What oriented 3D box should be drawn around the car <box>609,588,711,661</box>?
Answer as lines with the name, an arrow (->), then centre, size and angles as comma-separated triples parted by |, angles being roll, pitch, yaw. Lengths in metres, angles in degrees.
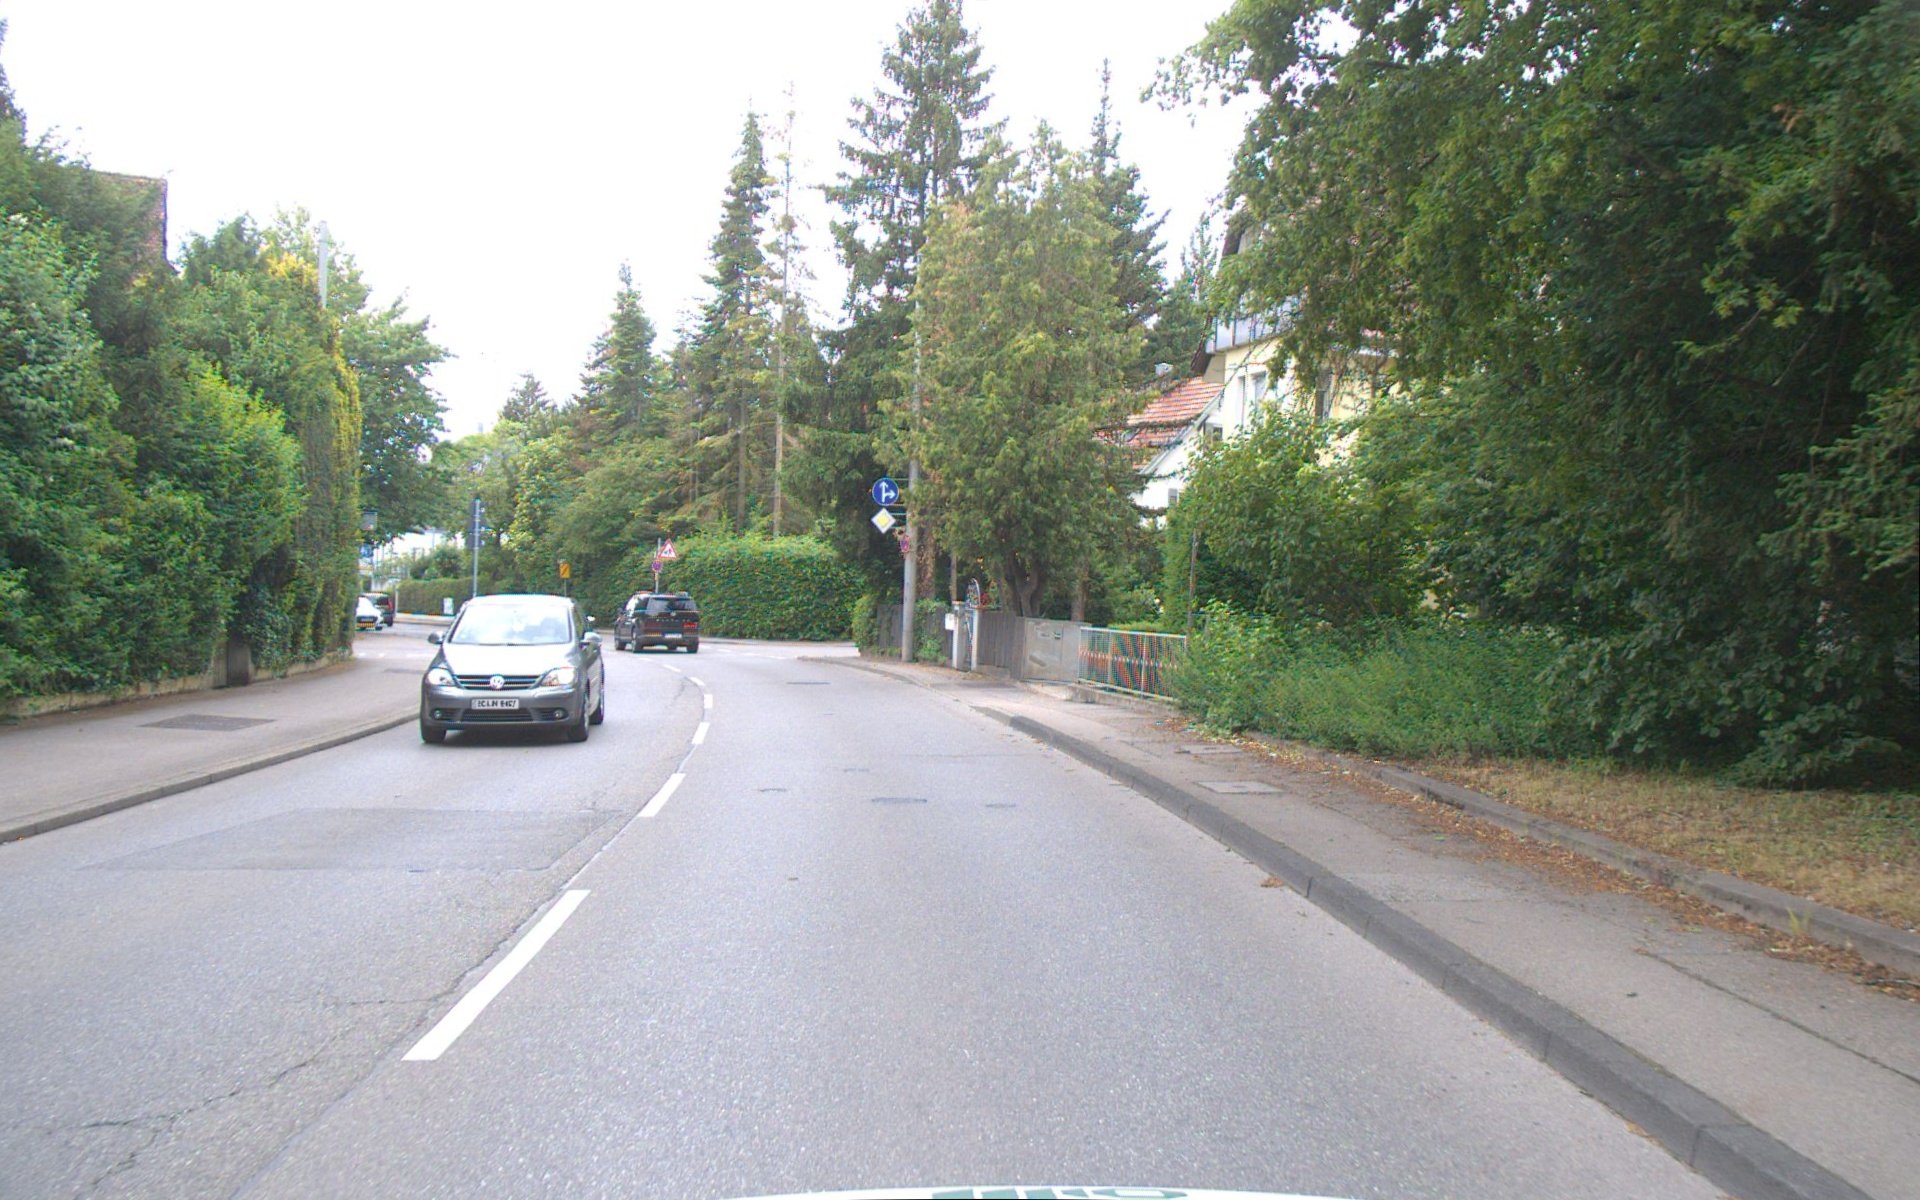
car -> -8.965, 0.693, 49.146 | 1.969, 1.914, 3.968 | 2, 1, -25

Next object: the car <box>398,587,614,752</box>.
car -> -5.000, 0.691, 18.710 | 1.957, 1.646, 3.991 | 0, 0, -10

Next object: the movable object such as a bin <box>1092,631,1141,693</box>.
movable object such as a bin -> 2.819, 1.109, 29.861 | 0.762, 1.067, 0.782 | 1, 0, -3

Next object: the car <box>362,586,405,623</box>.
car -> -29.163, 0.220, 83.548 | 1.866, 1.736, 3.974 | 2, -1, -21

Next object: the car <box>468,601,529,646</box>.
car -> -15.336, 0.763, 54.906 | 1.882, 1.422, 3.892 | 0, 0, -16

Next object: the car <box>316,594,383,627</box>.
car -> -27.411, 0.477, 74.193 | 1.793, 1.468, 4.145 | 0, -1, -35

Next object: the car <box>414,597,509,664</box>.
car -> -11.954, 0.695, 39.854 | 1.869, 1.479, 3.785 | -1, 0, -12
